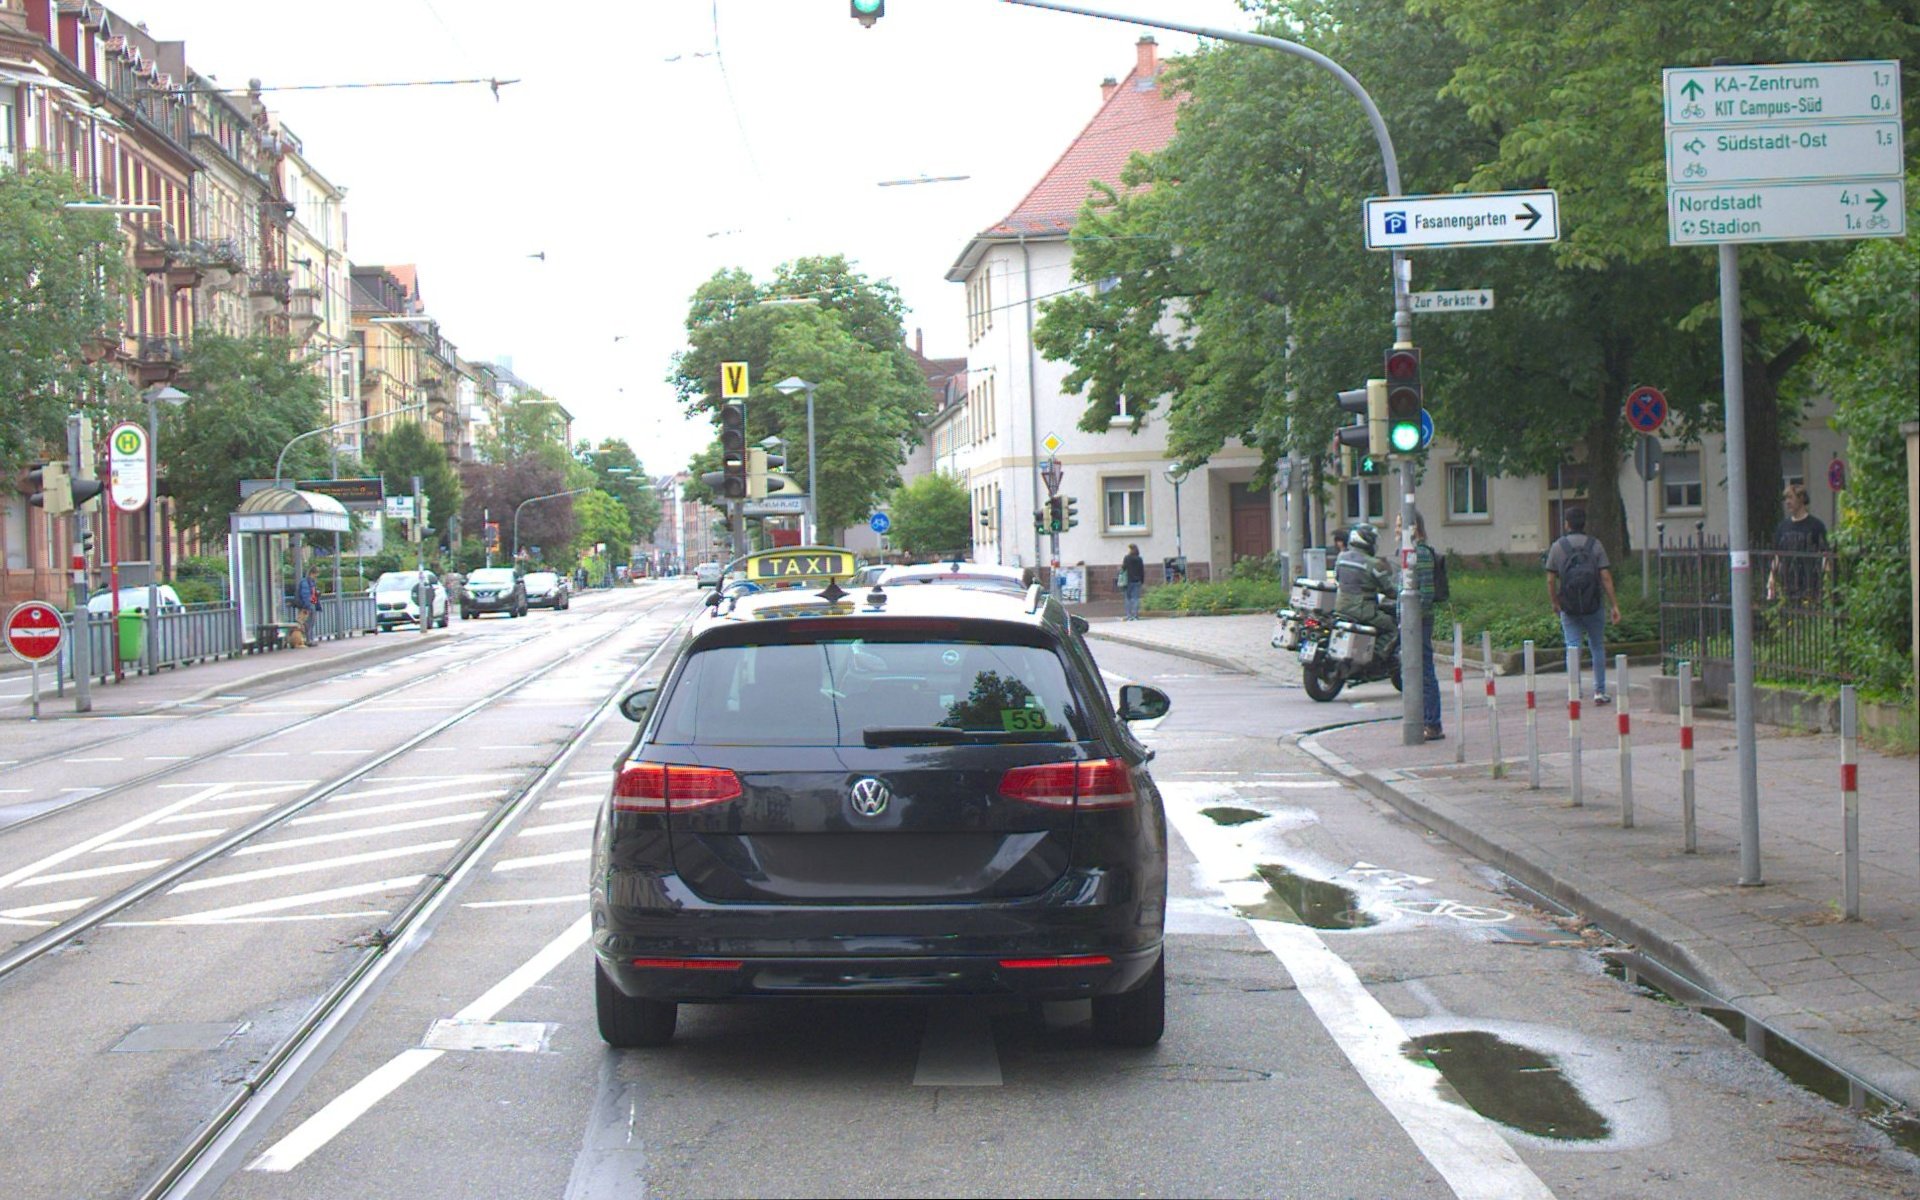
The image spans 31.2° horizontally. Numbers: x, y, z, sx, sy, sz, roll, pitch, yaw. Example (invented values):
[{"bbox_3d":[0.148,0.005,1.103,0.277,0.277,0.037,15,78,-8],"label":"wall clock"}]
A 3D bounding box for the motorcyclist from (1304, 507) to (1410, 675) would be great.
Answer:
[{"bbox_3d":[4.062,-0.094,35.167,0.704,1.686,0.802,-1,1,40],"label":"motorcyclist"}]

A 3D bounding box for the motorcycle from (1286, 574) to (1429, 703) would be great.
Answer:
[{"bbox_3d":[4.083,0.383,35.219,0.447,1.231,1.902,-1,1,40],"label":"motorcycle"}]

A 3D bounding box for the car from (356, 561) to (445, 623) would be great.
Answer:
[{"bbox_3d":[-15.327,-0.232,94.379,1.795,1.590,4.000,-2,1,-1],"label":"car"}]

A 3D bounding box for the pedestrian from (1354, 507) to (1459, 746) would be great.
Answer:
[{"bbox_3d":[3.519,0.204,27.136,0.585,1.824,0.604,-5,1,-2],"label":"pedestrian"}]

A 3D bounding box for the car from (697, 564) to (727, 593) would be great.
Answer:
[{"bbox_3d":[-17.683,-1.540,245.333,2.032,2.007,4.000,-1,0,-3],"label":"car"}]

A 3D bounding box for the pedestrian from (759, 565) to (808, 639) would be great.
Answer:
[{"bbox_3d":[-3.162,0.033,61.605,0.823,1.300,0.569,-2,1,-4],"label":"pedestrian"}]

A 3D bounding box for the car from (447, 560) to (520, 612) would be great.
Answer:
[{"bbox_3d":[-15.303,-0.466,110.576,1.795,1.590,4.000,-2,1,-1],"label":"car"}]

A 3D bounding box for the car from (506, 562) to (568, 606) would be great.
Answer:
[{"bbox_3d":[-15.820,-0.612,128.701,1.795,1.590,4.000,-2,1,-1],"label":"car"}]

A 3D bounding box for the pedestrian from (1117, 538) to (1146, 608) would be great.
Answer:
[{"bbox_3d":[3.828,-0.611,76.870,0.581,1.548,0.609,-1,1,-1],"label":"pedestrian"}]

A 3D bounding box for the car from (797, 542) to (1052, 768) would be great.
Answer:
[{"bbox_3d":[-0.342,0.355,26.150,1.723,1.541,4.001,-1,1,-3],"label":"car"}]

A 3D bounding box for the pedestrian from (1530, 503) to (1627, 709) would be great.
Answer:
[{"bbox_3d":[5.540,0.048,30.808,0.632,1.808,0.726,-2,1,-6],"label":"pedestrian"}]

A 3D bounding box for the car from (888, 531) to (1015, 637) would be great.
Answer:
[{"bbox_3d":[-0.170,-0.273,53.264,1.723,1.541,4.001,-1,1,-3],"label":"car"}]

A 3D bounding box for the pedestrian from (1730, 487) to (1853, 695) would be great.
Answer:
[{"bbox_3d":[7.446,-0.082,30.785,0.651,1.824,0.800,-3,1,-44],"label":"pedestrian"}]

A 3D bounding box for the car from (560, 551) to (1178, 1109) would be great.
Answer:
[{"bbox_3d":[-0.369,0.622,11.787,1.723,1.541,4.001,-1,1,-3],"label":"car"}]

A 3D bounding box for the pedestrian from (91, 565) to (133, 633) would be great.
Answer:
[{"bbox_3d":[-19.476,-0.022,78.971,0.589,1.515,0.648,-1,1,32],"label":"pedestrian"}]

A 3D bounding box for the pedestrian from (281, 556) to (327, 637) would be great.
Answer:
[{"bbox_3d":[-12.446,-0.073,65.209,0.714,1.515,0.590,-2,1,-2],"label":"pedestrian"}]
